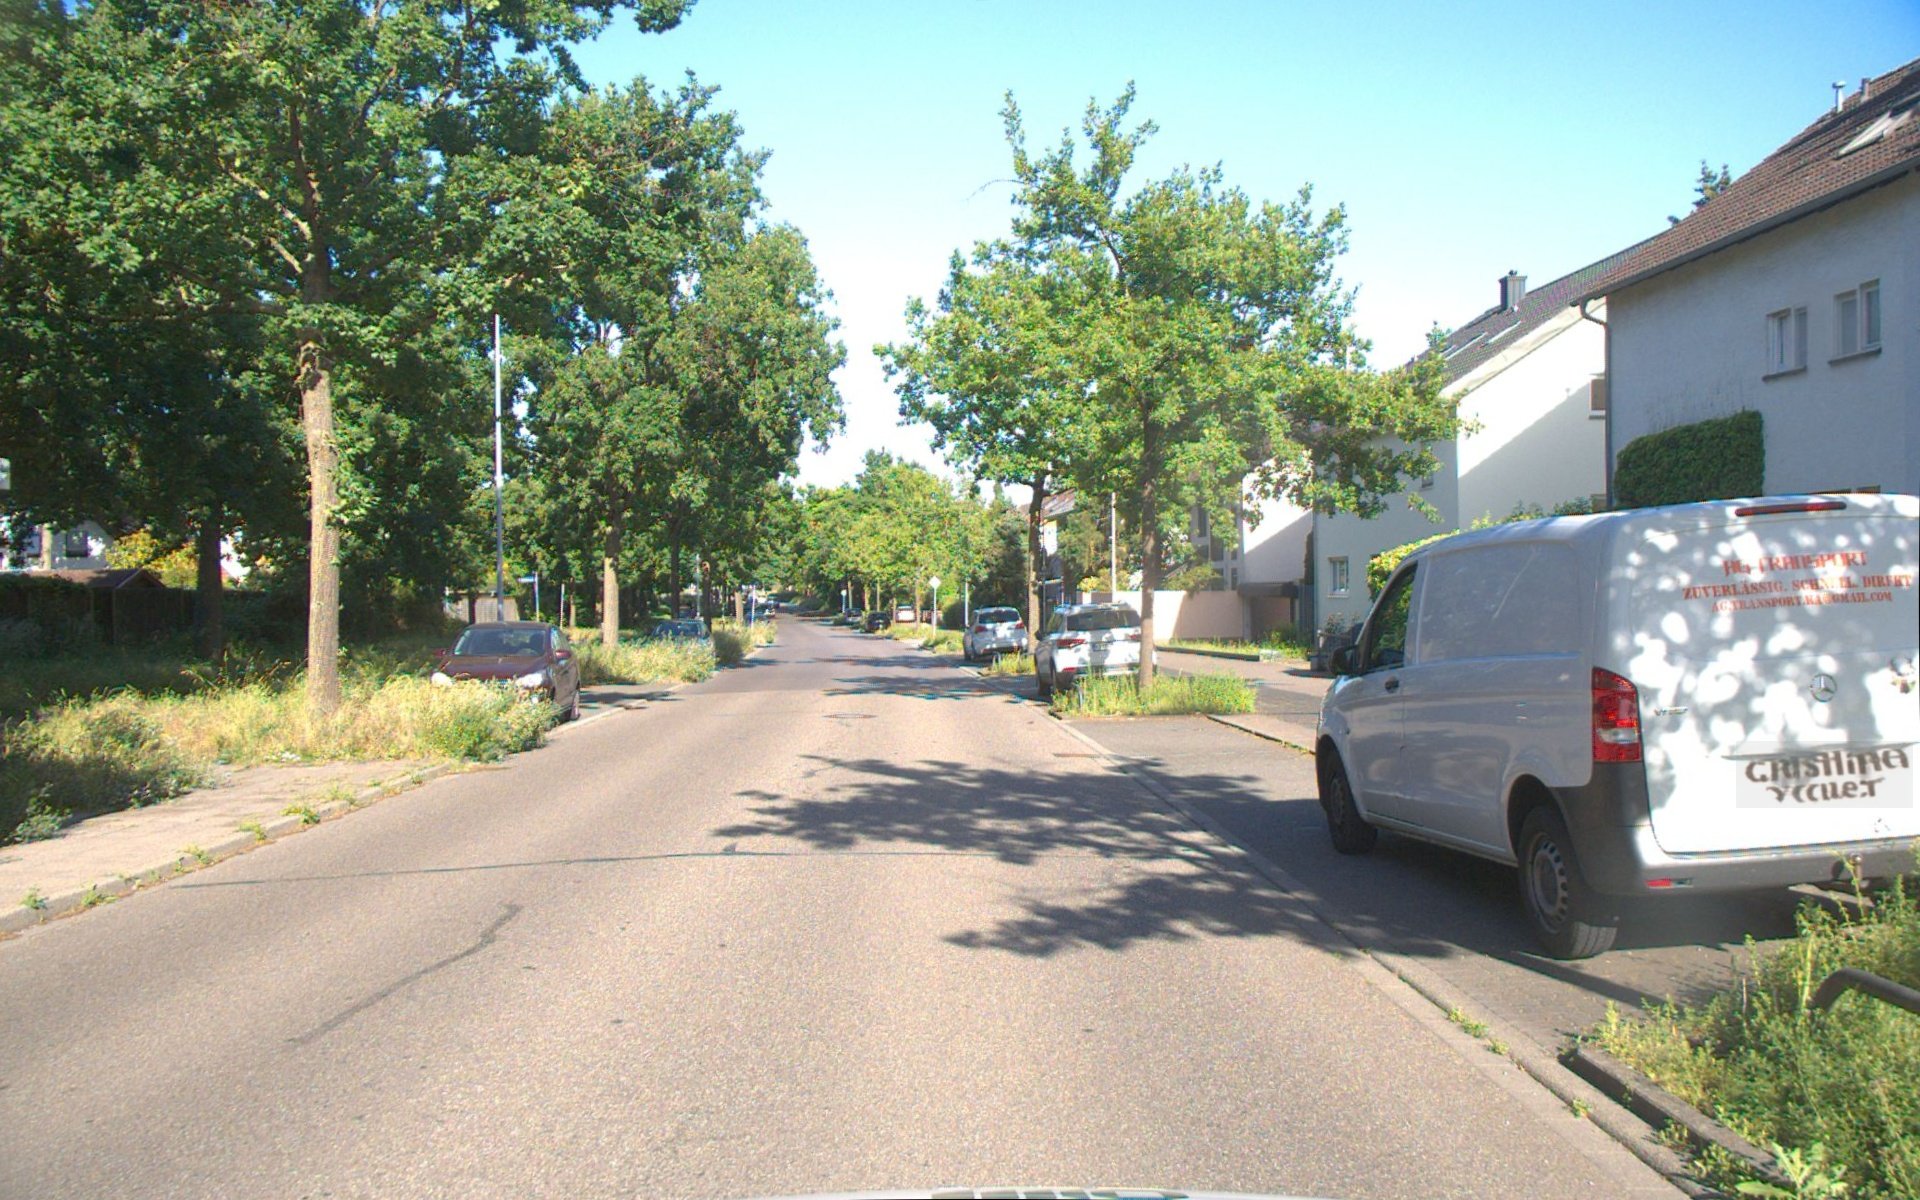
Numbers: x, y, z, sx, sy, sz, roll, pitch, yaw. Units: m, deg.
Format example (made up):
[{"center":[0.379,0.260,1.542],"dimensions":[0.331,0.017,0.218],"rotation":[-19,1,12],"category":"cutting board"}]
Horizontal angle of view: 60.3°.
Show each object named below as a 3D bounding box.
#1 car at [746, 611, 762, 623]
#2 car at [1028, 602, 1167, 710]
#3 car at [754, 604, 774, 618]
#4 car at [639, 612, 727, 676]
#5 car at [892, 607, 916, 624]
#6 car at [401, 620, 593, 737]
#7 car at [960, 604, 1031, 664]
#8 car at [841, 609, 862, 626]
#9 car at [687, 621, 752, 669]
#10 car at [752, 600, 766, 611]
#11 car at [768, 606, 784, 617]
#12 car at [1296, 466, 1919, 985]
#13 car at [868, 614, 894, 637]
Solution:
[{"center":[-25.574,2.142,205.383],"dimensions":[1.720,1.479,3.996],"rotation":[-1,-1,-4],"category":"car"},{"center":[2.336,0.931,29.028],"dimensions":[1.897,1.734,3.997],"rotation":[-1,-1,-3],"category":"car"},{"center":[-21.004,1.224,177.312],"dimensions":[1.895,1.479,3.996],"rotation":[-1,-1,-4],"category":"car"},{"center":[-7.156,1.124,43.096],"dimensions":[1.955,1.584,3.995],"rotation":[0,-1,-5],"category":"car"},{"center":[-4.984,1.399,146.447],"dimensions":[1.895,1.479,3.996],"rotation":[-1,-1,-4],"category":"car"},{"center":[-6.536,1.053,23.767],"dimensions":[1.898,1.505,3.996],"rotation":[-1,-1,-5],"category":"car"},{"center":[1.068,1.041,51.467],"dimensions":[1.895,1.773,3.997],"rotation":[-1,-1,-3],"category":"car"},{"center":[-9.768,1.560,148.725],"dimensions":[1.895,1.479,3.996],"rotation":[-1,-1,-4],"category":"car"},{"center":[-7.969,1.460,55.071],"dimensions":[1.760,1.505,3.518],"rotation":[-1,-1,-2],"category":"car"},{"center":[-28.464,0.815,234.597],"dimensions":[1.720,1.479,3.996],"rotation":[-1,-1,-4],"category":"car"},{"center":[-24.493,1.540,219.958],"dimensions":[1.895,1.479,3.996],"rotation":[-1,-1,-4],"category":"car"},{"center":[3.307,0.501,8.854],"dimensions":[1.799,2.006,4.755],"rotation":[-1,-1,-3],"category":"car"},{"center":[-5.762,1.839,120.306],"dimensions":[1.895,1.569,3.997],"rotation":[-1,-1,-3],"category":"car"}]
